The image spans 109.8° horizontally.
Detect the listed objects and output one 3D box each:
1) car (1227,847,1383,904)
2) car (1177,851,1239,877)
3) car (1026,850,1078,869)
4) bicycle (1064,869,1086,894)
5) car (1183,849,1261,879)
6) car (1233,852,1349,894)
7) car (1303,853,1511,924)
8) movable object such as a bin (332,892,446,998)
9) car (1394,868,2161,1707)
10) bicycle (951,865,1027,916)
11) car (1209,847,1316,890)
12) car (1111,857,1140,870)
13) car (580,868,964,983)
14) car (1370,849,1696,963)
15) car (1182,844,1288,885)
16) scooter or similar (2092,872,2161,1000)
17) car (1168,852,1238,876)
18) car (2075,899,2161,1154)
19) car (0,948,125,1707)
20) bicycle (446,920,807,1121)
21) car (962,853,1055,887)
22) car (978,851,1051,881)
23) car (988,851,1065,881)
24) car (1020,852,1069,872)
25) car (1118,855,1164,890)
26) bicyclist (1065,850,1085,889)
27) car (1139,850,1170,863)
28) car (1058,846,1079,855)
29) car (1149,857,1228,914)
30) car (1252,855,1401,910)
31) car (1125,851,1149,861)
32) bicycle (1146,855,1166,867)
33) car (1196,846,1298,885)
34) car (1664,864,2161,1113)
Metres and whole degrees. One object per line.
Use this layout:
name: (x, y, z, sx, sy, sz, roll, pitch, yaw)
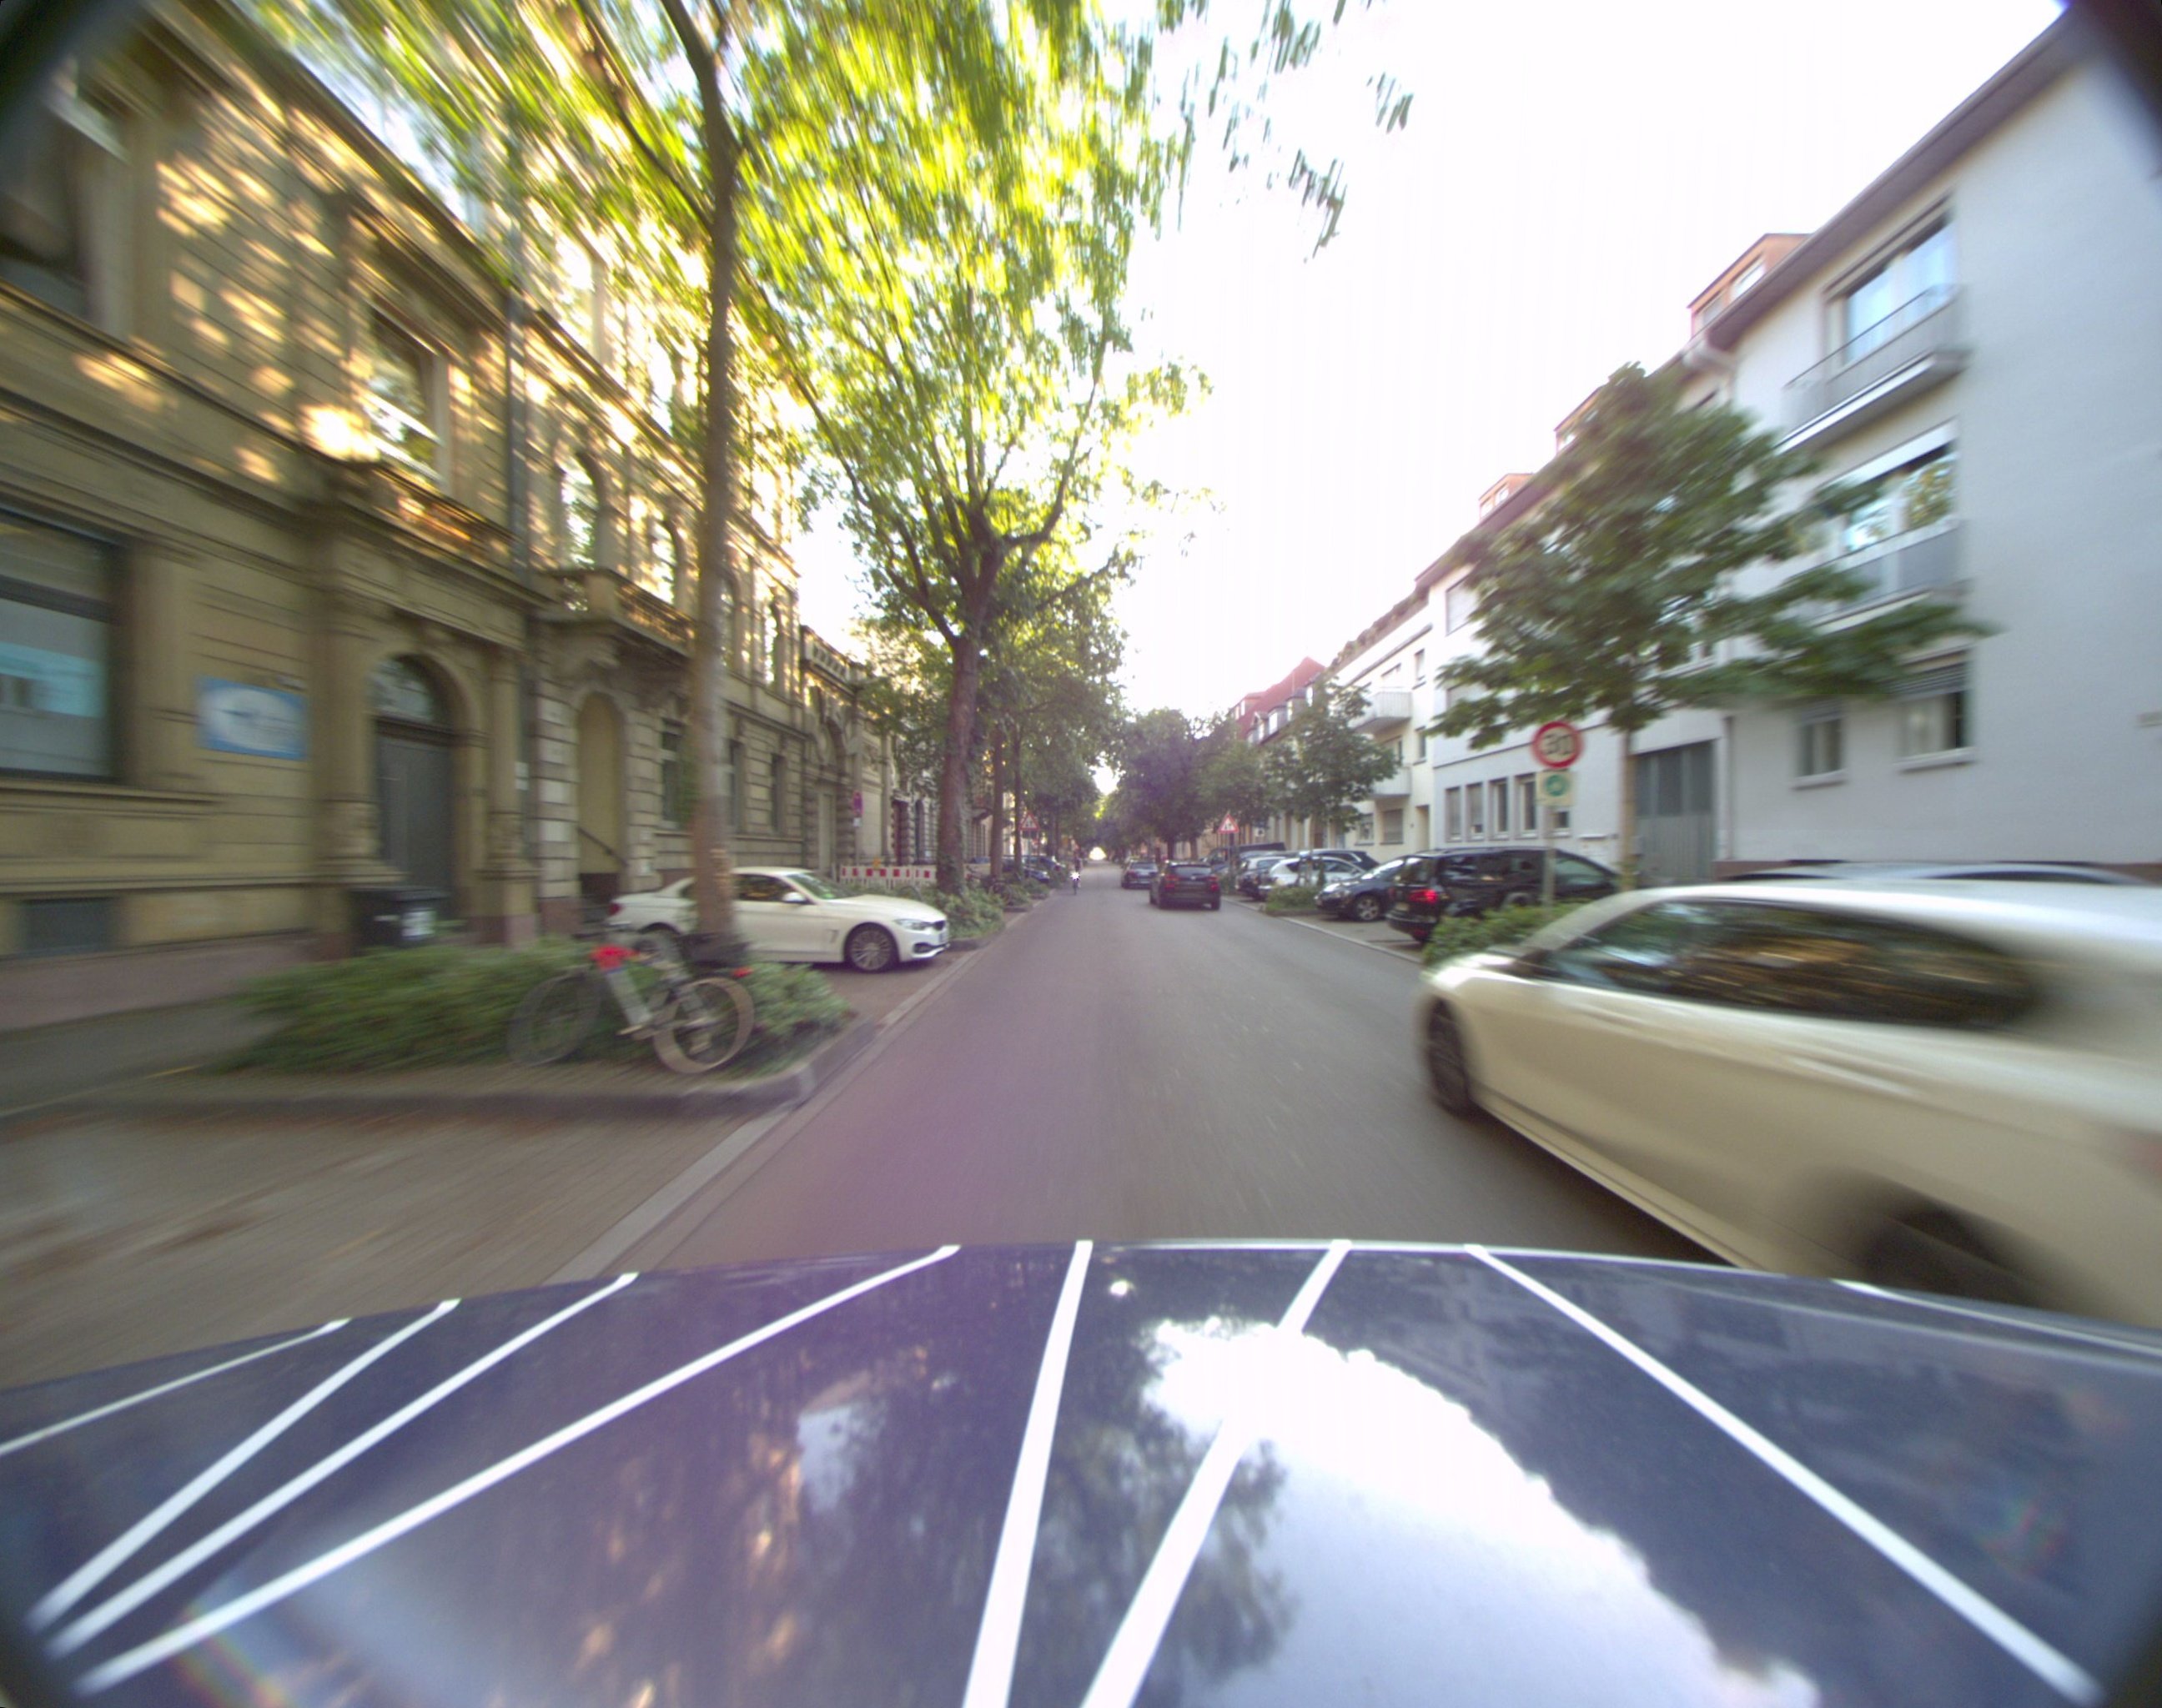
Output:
car: (7.540, 0.700, 25.927, 4.677, 1.755, 2.156, -2, 0, 0)
car: (8.104, 0.612, 48.811, 3.693, 1.441, 1.659, -3, 0, 1)
car: (-2.643, 0.489, 69.829, 4.420, 1.552, 1.867, 3, 0, 8)
bicycle: (-0.230, 1.157, 32.221, 0.778, 0.967, 2.025, -1, 0, 4)
car: (8.559, 0.612, 46.296, 4.365, 1.530, 1.771, -3, 2, 1)
car: (7.825, 0.703, 28.559, 3.854, 1.442, 1.855, -2, -1, 1)
car: (7.514, 0.767, 17.799, 4.084, 1.432, 1.755, -2, 0, 2)
movable object such as a bin: (-7.466, 0.965, 8.229, 0.659, 1.058, 0.615, 1, 1, 1)
car: (2.981, 0.878, 2.966, 1.881, 1.540, 4.275, 0, 0, 2)
bicycle: (-2.603, 1.038, 21.623, 2.051, 1.352, 0.508, -2, 0, -1)
car: (7.878, 0.602, 33.254, 4.164, 1.582, 1.823, -3, 1, 1)
car: (5.721, 1.229, 97.887, 3.552, 1.411, 1.590, -3, 0, -1)
car: (-4.134, 0.931, 10.693, 4.594, 1.429, 1.925, 0, 0, 3)
car: (7.127, 0.791, 12.355, 4.103, 1.622, 1.936, -1, 0, 2)
car: (7.794, 0.526, 38.838, 5.002, 1.979, 2.190, -1, 0, 1)
scooter or similar: (11.141, 0.844, 7.498, 0.516, 1.254, 1.421, -2, 1, 5)
car: (8.281, 0.668, 51.670, 4.436, 1.399, 1.717, -2, 2, -2)
car: (7.476, 0.851, 3.257, 3.748, 1.303, 1.845, -2, 0, 5)
car: (-3.747, 0.920, 0.405, 4.234, 1.551, 1.971, 0, 0, 4)
bicycle: (-2.960, 1.072, 5.120, 2.026, 1.197, 0.488, 1, 1, -11)
car: (-3.444, 0.747, 36.677, 4.234, 1.472, 1.855, 2, 1, 1)
car: (-3.743, 0.680, 43.270, 4.017, 1.677, 1.765, 0, 0, 1)
car: (-3.212, 0.703, 45.738, 4.451, 1.708, 1.968, 1, 1, 1)
car: (-2.989, 0.648, 62.482, 3.875, 1.419, 1.781, 3, 0, 0)
car: (2.926, 0.878, 37.893, 1.882, 1.631, 4.645, 0, 0, 0)
bicyclist: (-0.248, 0.632, 32.203, 0.753, 1.612, 1.147, -1, 1, 4)
car: (8.682, 0.296, 89.913, 3.497, 1.397, 1.673, -3, 0, -1)
car: (-2.187, -0.576, 133.882, 3.551, 1.411, 1.590, -3, 0, 1)
car: (3.232, 0.911, 23.605, 1.881, 1.540, 4.275, 1, 0, 1)
car: (7.507, 0.858, 23.521, 4.037, 1.485, 1.781, -2, 0, 5)
car: (8.653, 0.295, 117.078, 3.551, 1.411, 1.590, -3, 0, 1)
bicycle: (7.370, 0.654, 74.977, 1.869, 1.092, 0.480, -2, 1, -5)
car: (7.835, 0.529, 36.155, 4.365, 1.564, 1.930, -3, 1, 1)
car: (7.068, 0.900, 5.870, 3.751, 1.450, 1.735, -2, 0, 0)
